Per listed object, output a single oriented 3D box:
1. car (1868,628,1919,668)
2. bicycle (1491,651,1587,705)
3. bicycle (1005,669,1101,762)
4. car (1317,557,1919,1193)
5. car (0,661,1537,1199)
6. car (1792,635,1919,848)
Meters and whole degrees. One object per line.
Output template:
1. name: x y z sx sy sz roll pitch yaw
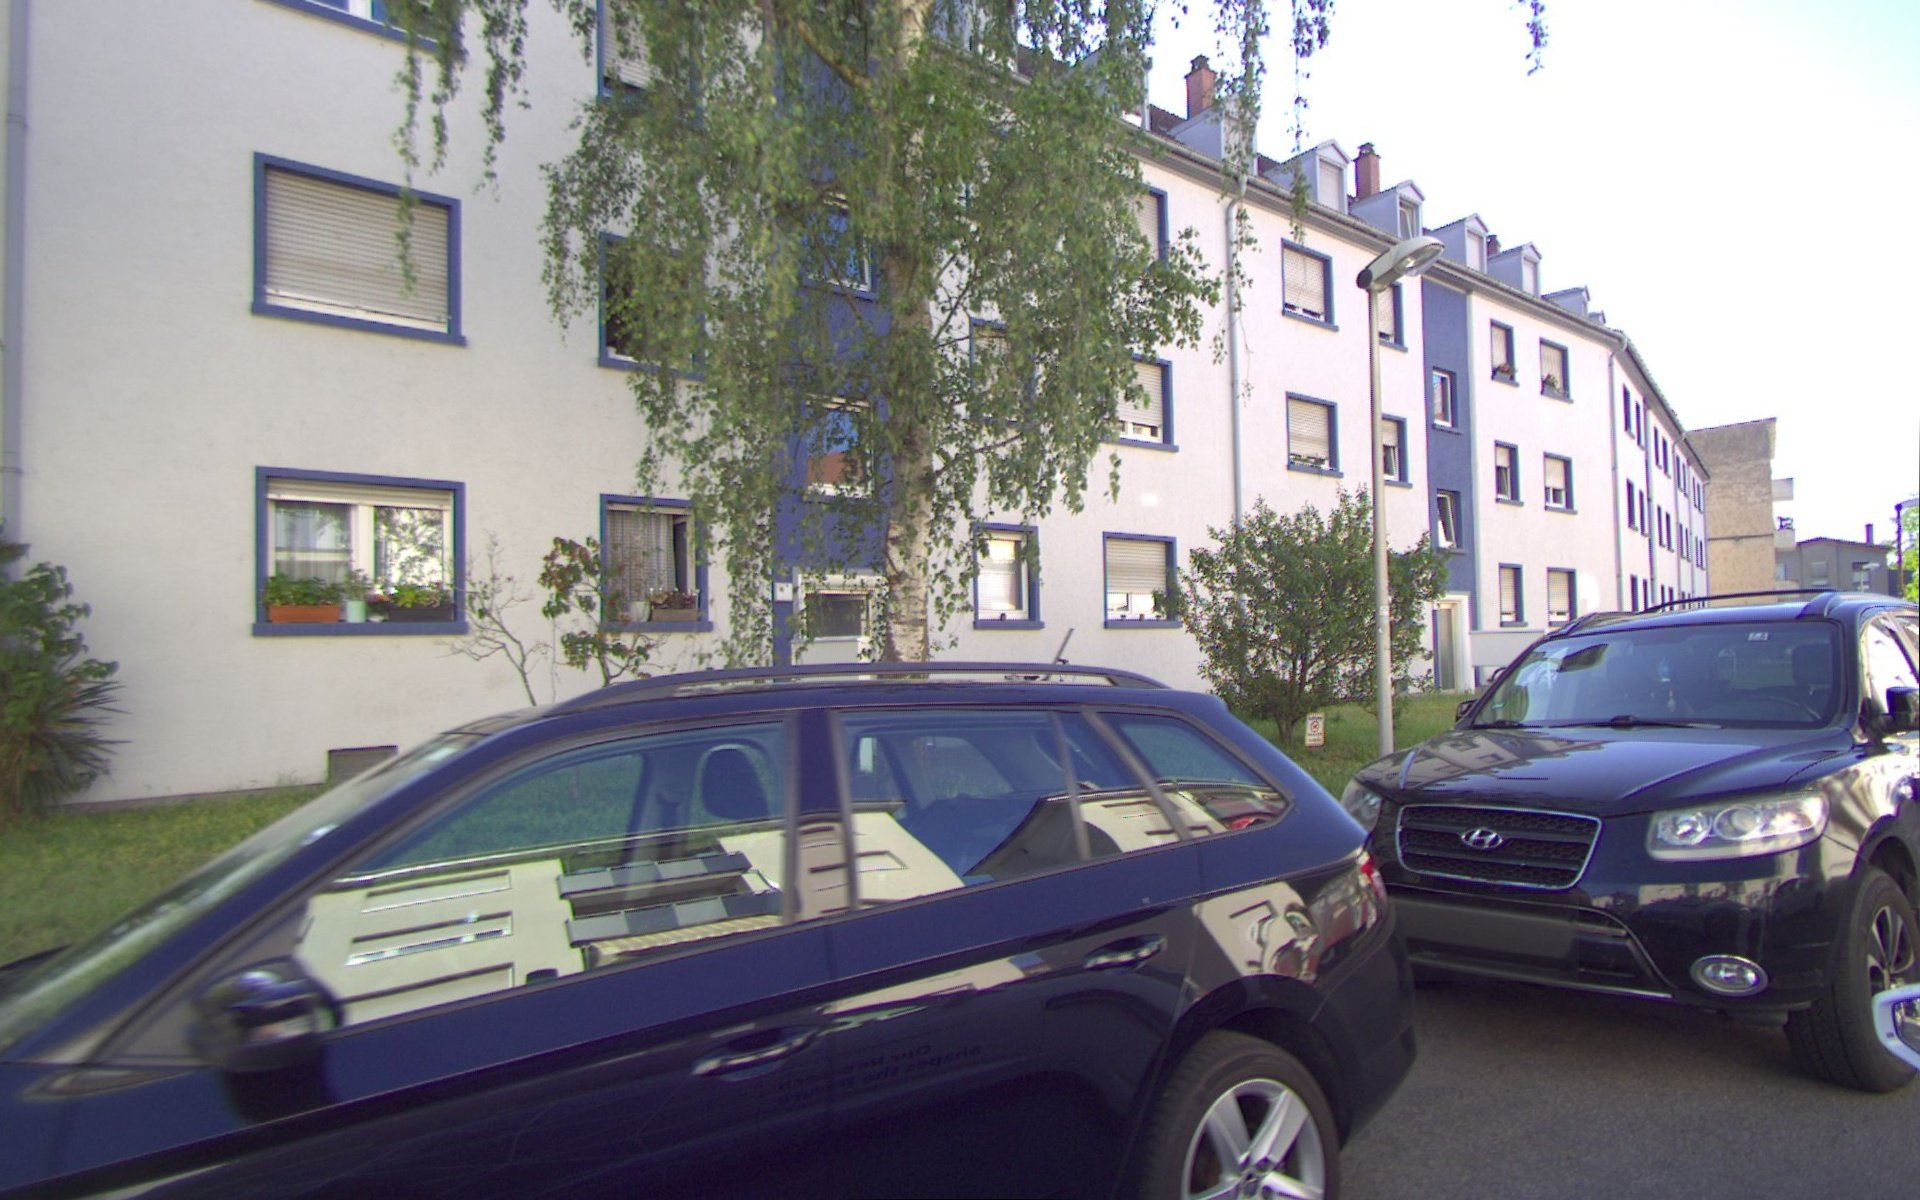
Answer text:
1. car: 52.087 2.689 55.862 1.971 2.039 4.434 -7 -6 39
2. bicycle: 12.885 1.712 22.413 0.562 1.092 1.811 0 -1 -31
3. bicycle: 1.231 1.544 13.550 0.412 1.166 1.398 1 -5 -38
4. car: 3.691 0.885 4.686 4.295 1.735 1.546 2 -7 -36
5. car: -0.612 0.975 2.337 3.921 1.460 1.549 0 -7 -30
6. car: 8.875 1.067 8.603 4.117 1.580 1.683 1 -5 -37
